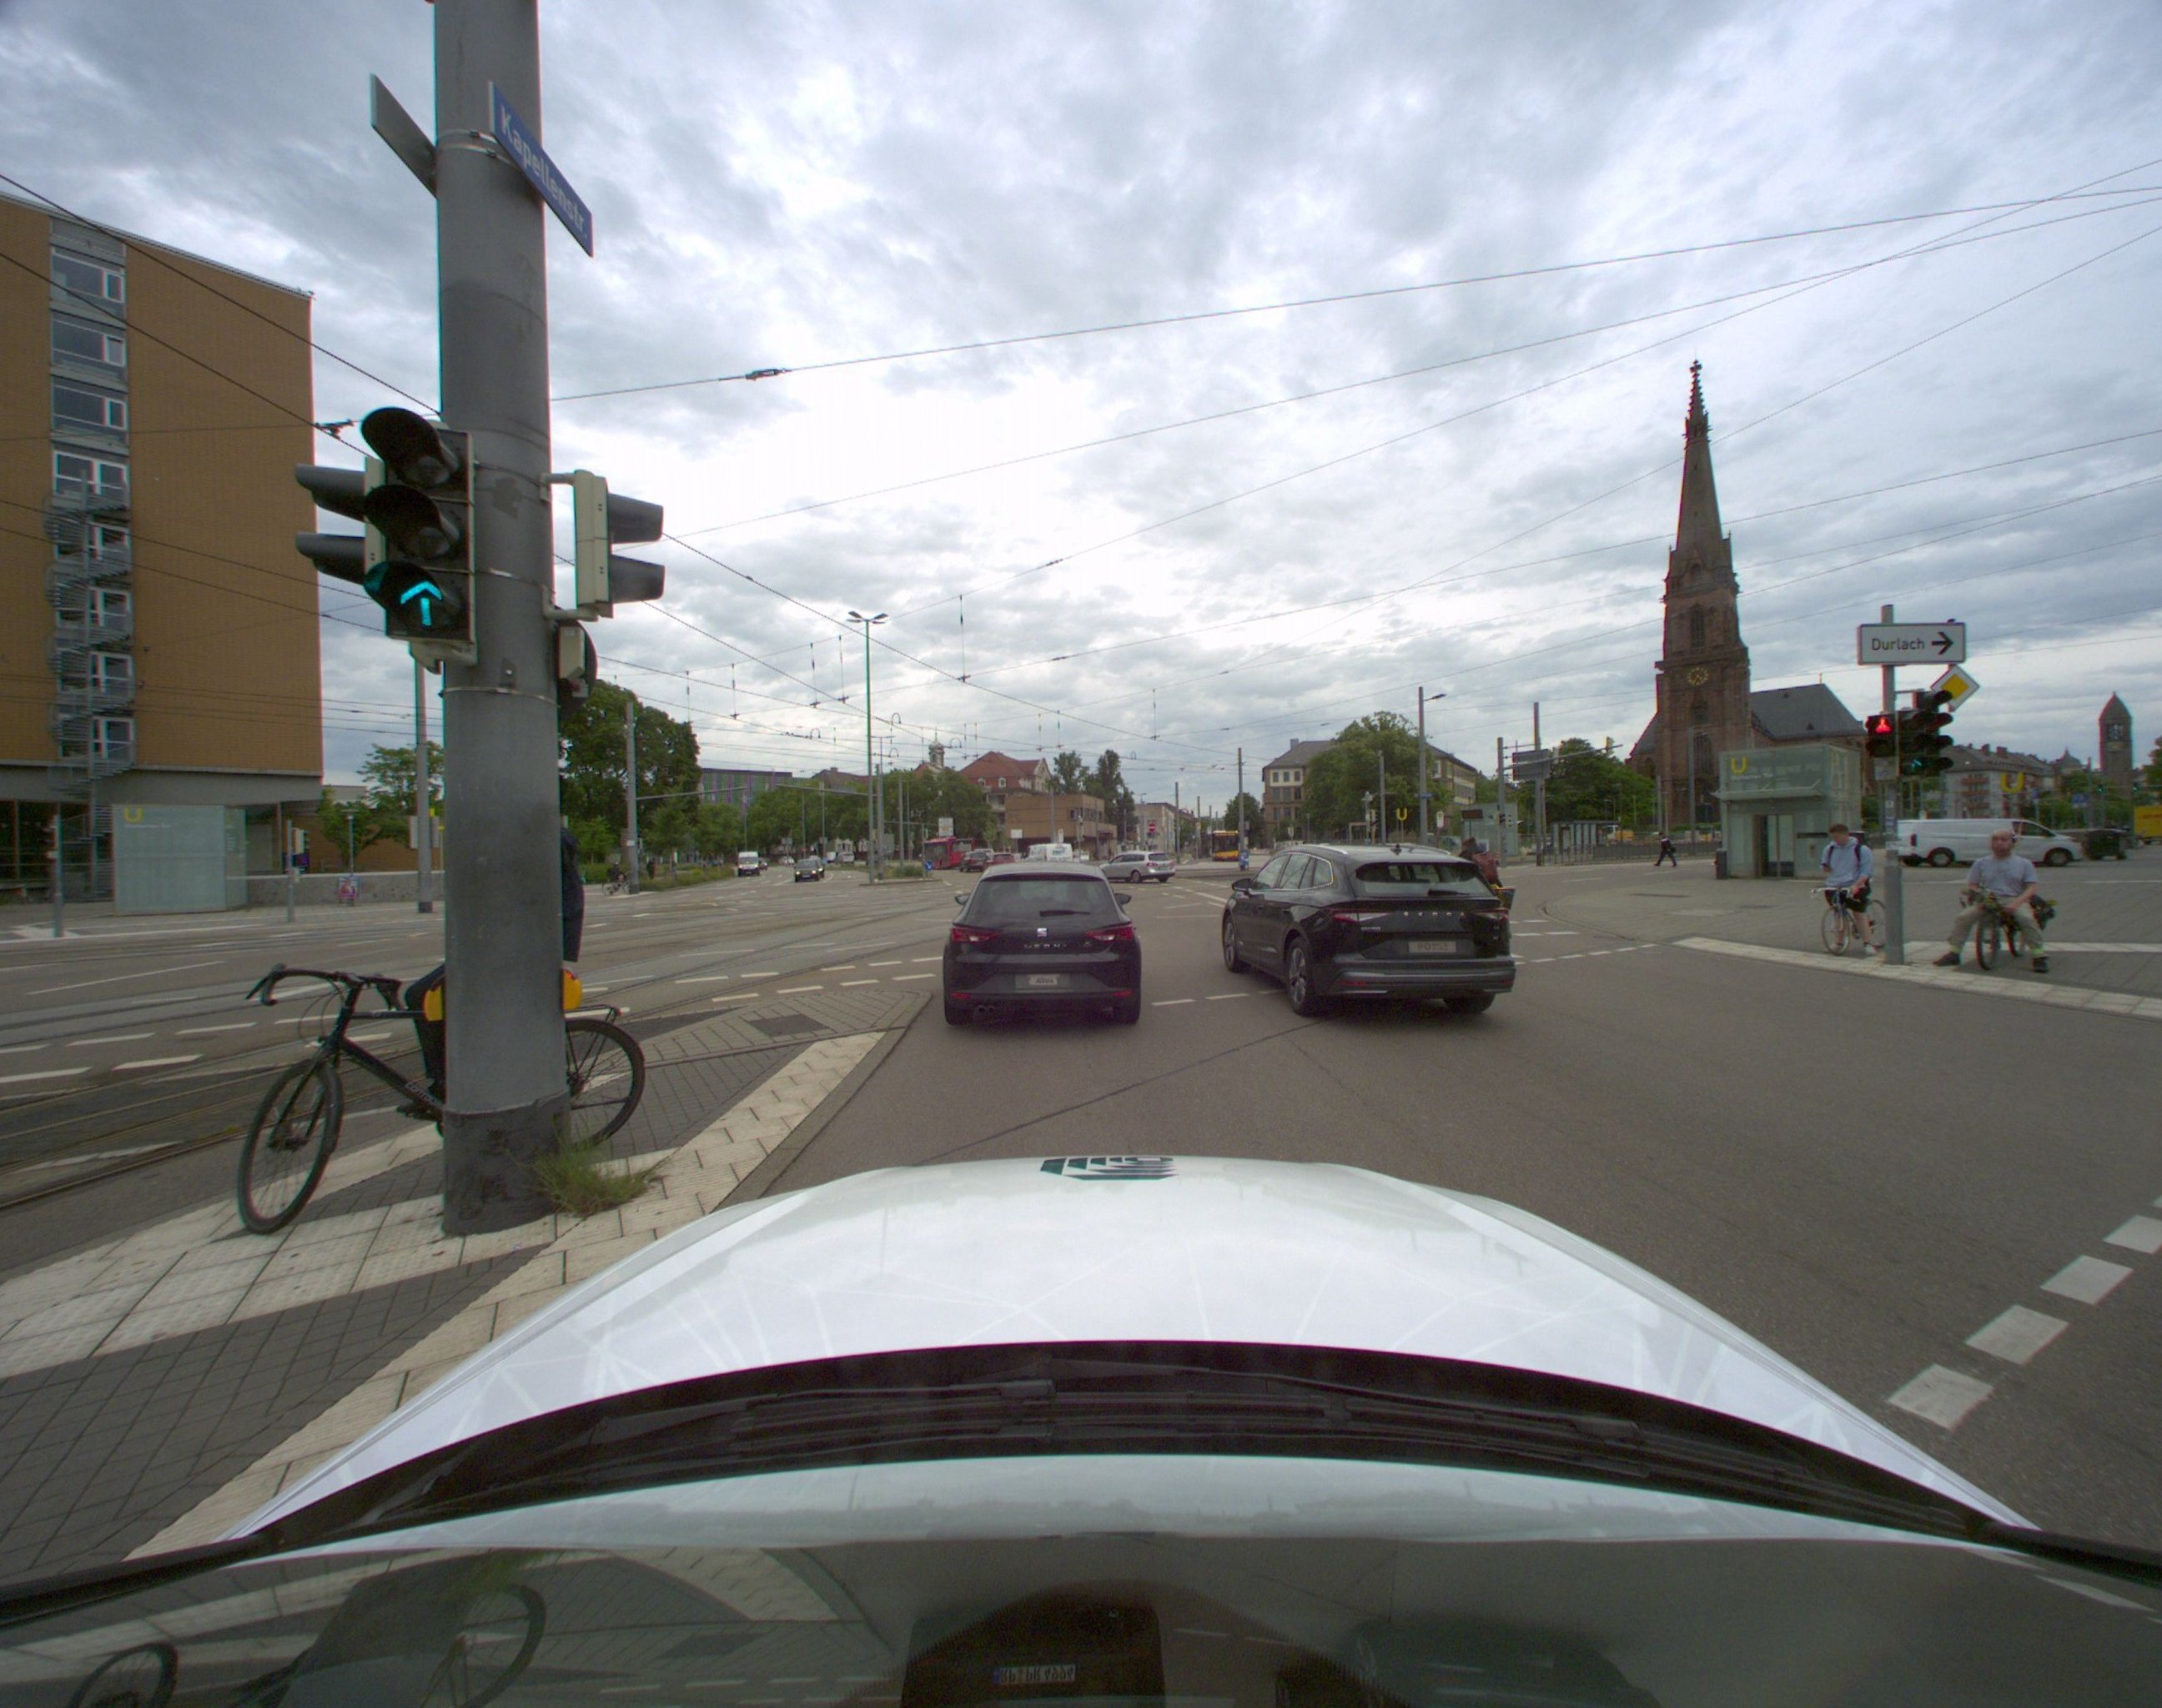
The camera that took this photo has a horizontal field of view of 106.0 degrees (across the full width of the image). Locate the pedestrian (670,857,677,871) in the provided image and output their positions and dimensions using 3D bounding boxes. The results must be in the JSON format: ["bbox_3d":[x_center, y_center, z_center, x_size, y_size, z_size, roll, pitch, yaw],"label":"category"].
[{"bbox_3d":[-44.623,1.070,89.241,0.563,1.541,0.749,-1,0,-22],"label":"pedestrian"}]

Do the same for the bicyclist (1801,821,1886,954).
[{"bbox_3d":[10.514,0.443,11.232,0.736,1.751,0.581,-3,1,-25],"label":"bicyclist"}]

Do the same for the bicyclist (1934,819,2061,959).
[{"bbox_3d":[10.880,0.393,9.680,0.886,1.521,0.668,-5,1,-19],"label":"bicyclist"}]

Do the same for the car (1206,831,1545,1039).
[{"bbox_3d":[2.804,0.649,9.005,1.899,1.658,4.510,-2,0,-3],"label":"car"}]

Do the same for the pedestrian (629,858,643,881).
[{"bbox_3d":[-34.686,1.220,63.451,0.747,1.733,0.683,-2,1,-13],"label":"pedestrian"}]

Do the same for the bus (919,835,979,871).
[{"bbox_3d":[-13.468,-0.092,81.892,3.072,3.297,12.283,-1,0,-23],"label":"bus"}]

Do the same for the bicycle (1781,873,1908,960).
[{"bbox_3d":[10.570,0.826,11.258,1.996,0.998,0.575,-3,1,-26],"label":"bicycle"}]

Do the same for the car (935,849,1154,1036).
[{"bbox_3d":[-0.406,0.695,8.531,1.742,1.464,3.995,-1,0,-4],"label":"car"}]

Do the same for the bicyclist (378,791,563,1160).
[{"bbox_3d":[-2.997,0.536,4.022,0.658,1.639,0.512,-2,0,-38],"label":"bicyclist"}]

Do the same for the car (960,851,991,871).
[{"bbox_3d":[-8.660,0.563,66.522,1.997,1.566,4.183,-2,0,-15],"label":"car"}]

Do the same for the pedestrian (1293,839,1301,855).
[{"bbox_3d":[24.261,-0.797,91.572,0.817,1.853,1.026,-2,0,17],"label":"pedestrian"}]

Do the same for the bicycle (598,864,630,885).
[{"bbox_3d":[-35.313,1.531,61.625,0.842,1.449,2.259,-2,0,7],"label":"bicycle"}]

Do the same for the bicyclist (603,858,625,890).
[{"bbox_3d":[-25.682,1.087,44.782,0.814,1.656,0.790,-1,3,-15],"label":"bicyclist"}]

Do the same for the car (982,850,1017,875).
[{"bbox_3d":[-5.747,0.557,56.868,1.860,1.600,4.185,-2,0,-14],"label":"car"}]

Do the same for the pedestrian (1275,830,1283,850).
[{"bbox_3d":[41.997,-3.013,172.639,1.381,4.253,1.347,-2,0,2],"label":"pedestrian"}]

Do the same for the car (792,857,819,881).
[{"bbox_3d":[-19.078,0.993,56.574,1.622,1.515,3.643,-3,1,-17],"label":"car"}]

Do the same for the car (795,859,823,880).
[{"bbox_3d":[-21.419,1.190,64.260,1.875,1.508,4.453,-4,1,-17],"label":"car"}]

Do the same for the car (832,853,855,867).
[{"bbox_3d":[-35.696,0.856,122.405,2.009,2.013,3.955,-1,0,-37],"label":"car"}]

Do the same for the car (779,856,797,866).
[{"bbox_3d":[-50.167,1.180,139.485,2.008,1.640,3.957,-2,0,-34],"label":"car"}]

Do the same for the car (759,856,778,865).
[{"bbox_3d":[-60.525,1.280,157.719,2.011,1.750,3.951,-2,0,-43],"label":"car"}]

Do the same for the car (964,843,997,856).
[{"bbox_3d":[-16.613,-0.780,134.814,5.033,1.864,1.975,-2,-3,-43],"label":"car"}]

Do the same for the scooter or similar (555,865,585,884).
[{"bbox_3d":[-36.938,1.491,58.905,1.781,1.302,0.624,-2,0,-30],"label":"scooter or similar"}]

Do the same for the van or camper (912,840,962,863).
[{"bbox_3d":[-22.802,-0.468,129.210,7.193,3.332,2.841,-2,-1,-43],"label":"van or camper"}]

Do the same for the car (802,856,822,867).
[{"bbox_3d":[-45.263,1.214,137.025,2.009,1.750,3.957,-2,0,-35],"label":"car"}]

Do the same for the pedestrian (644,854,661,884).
[{"bbox_3d":[-28.764,1.003,54.711,0.820,1.980,0.655,-2,1,-13],"label":"pedestrian"}]

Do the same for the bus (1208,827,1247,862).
[{"bbox_3d":[15.361,-0.945,84.495,2.994,3.268,13.093,-1,0,14],"label":"bus"}]

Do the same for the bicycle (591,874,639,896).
[{"bbox_3d":[-25.644,1.695,44.830,2.117,1.028,0.791,-2,3,-15],"label":"bicycle"}]

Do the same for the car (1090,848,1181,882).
[{"bbox_3d":[2.531,0.525,38.866,1.734,1.482,4.576,-3,1,-37],"label":"car"}]

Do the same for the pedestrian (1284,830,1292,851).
[{"bbox_3d":[43.799,-2.867,172.298,1.302,4.253,1.347,-2,0,2],"label":"pedestrian"}]

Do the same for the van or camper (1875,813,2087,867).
[{"bbox_3d":[36.570,-0.538,33.318,5.403,1.978,2.183,-2,0,20],"label":"van or camper"}]

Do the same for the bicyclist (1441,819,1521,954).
[{"bbox_3d":[5.233,0.410,10.691,0.613,1.690,0.805,-1,1,-1],"label":"bicyclist"}]

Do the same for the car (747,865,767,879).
[{"bbox_3d":[-43.624,2.391,109.729,1.882,1.725,4.668,-3,1,-29],"label":"car"}]

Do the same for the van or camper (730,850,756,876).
[{"bbox_3d":[-34.559,0.923,83.393,2.289,2.527,5.531,-3,1,-22],"label":"van or camper"}]

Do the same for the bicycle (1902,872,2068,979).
[{"bbox_3d":[10.744,0.808,9.675,1.946,0.998,0.598,-5,1,-20],"label":"bicycle"}]

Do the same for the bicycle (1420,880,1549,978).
[{"bbox_3d":[5.241,0.920,10.752,0.623,1.055,2.125,-2,1,0],"label":"bicycle"}]

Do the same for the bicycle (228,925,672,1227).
[{"bbox_3d":[-2.980,0.964,4.025,1.622,1.070,0.522,-2,0,-38],"label":"bicycle"}]

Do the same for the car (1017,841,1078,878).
[{"bbox_3d":[-2.057,0.301,47.965,2.002,2.019,4.995,-2,0,-22],"label":"car"}]

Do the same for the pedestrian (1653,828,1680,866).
[{"bbox_3d":[25.914,-0.304,36.050,0.892,1.643,0.789,-2,0,36],"label":"pedestrian"}]

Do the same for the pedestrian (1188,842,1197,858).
[{"bbox_3d":[12.837,-0.462,94.096,0.817,1.808,1.026,-2,0,17],"label":"pedestrian"}]

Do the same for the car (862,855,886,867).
[{"bbox_3d":[-27.944,1.001,109.683,2.007,1.539,3.960,-1,0,-31],"label":"car"}]
